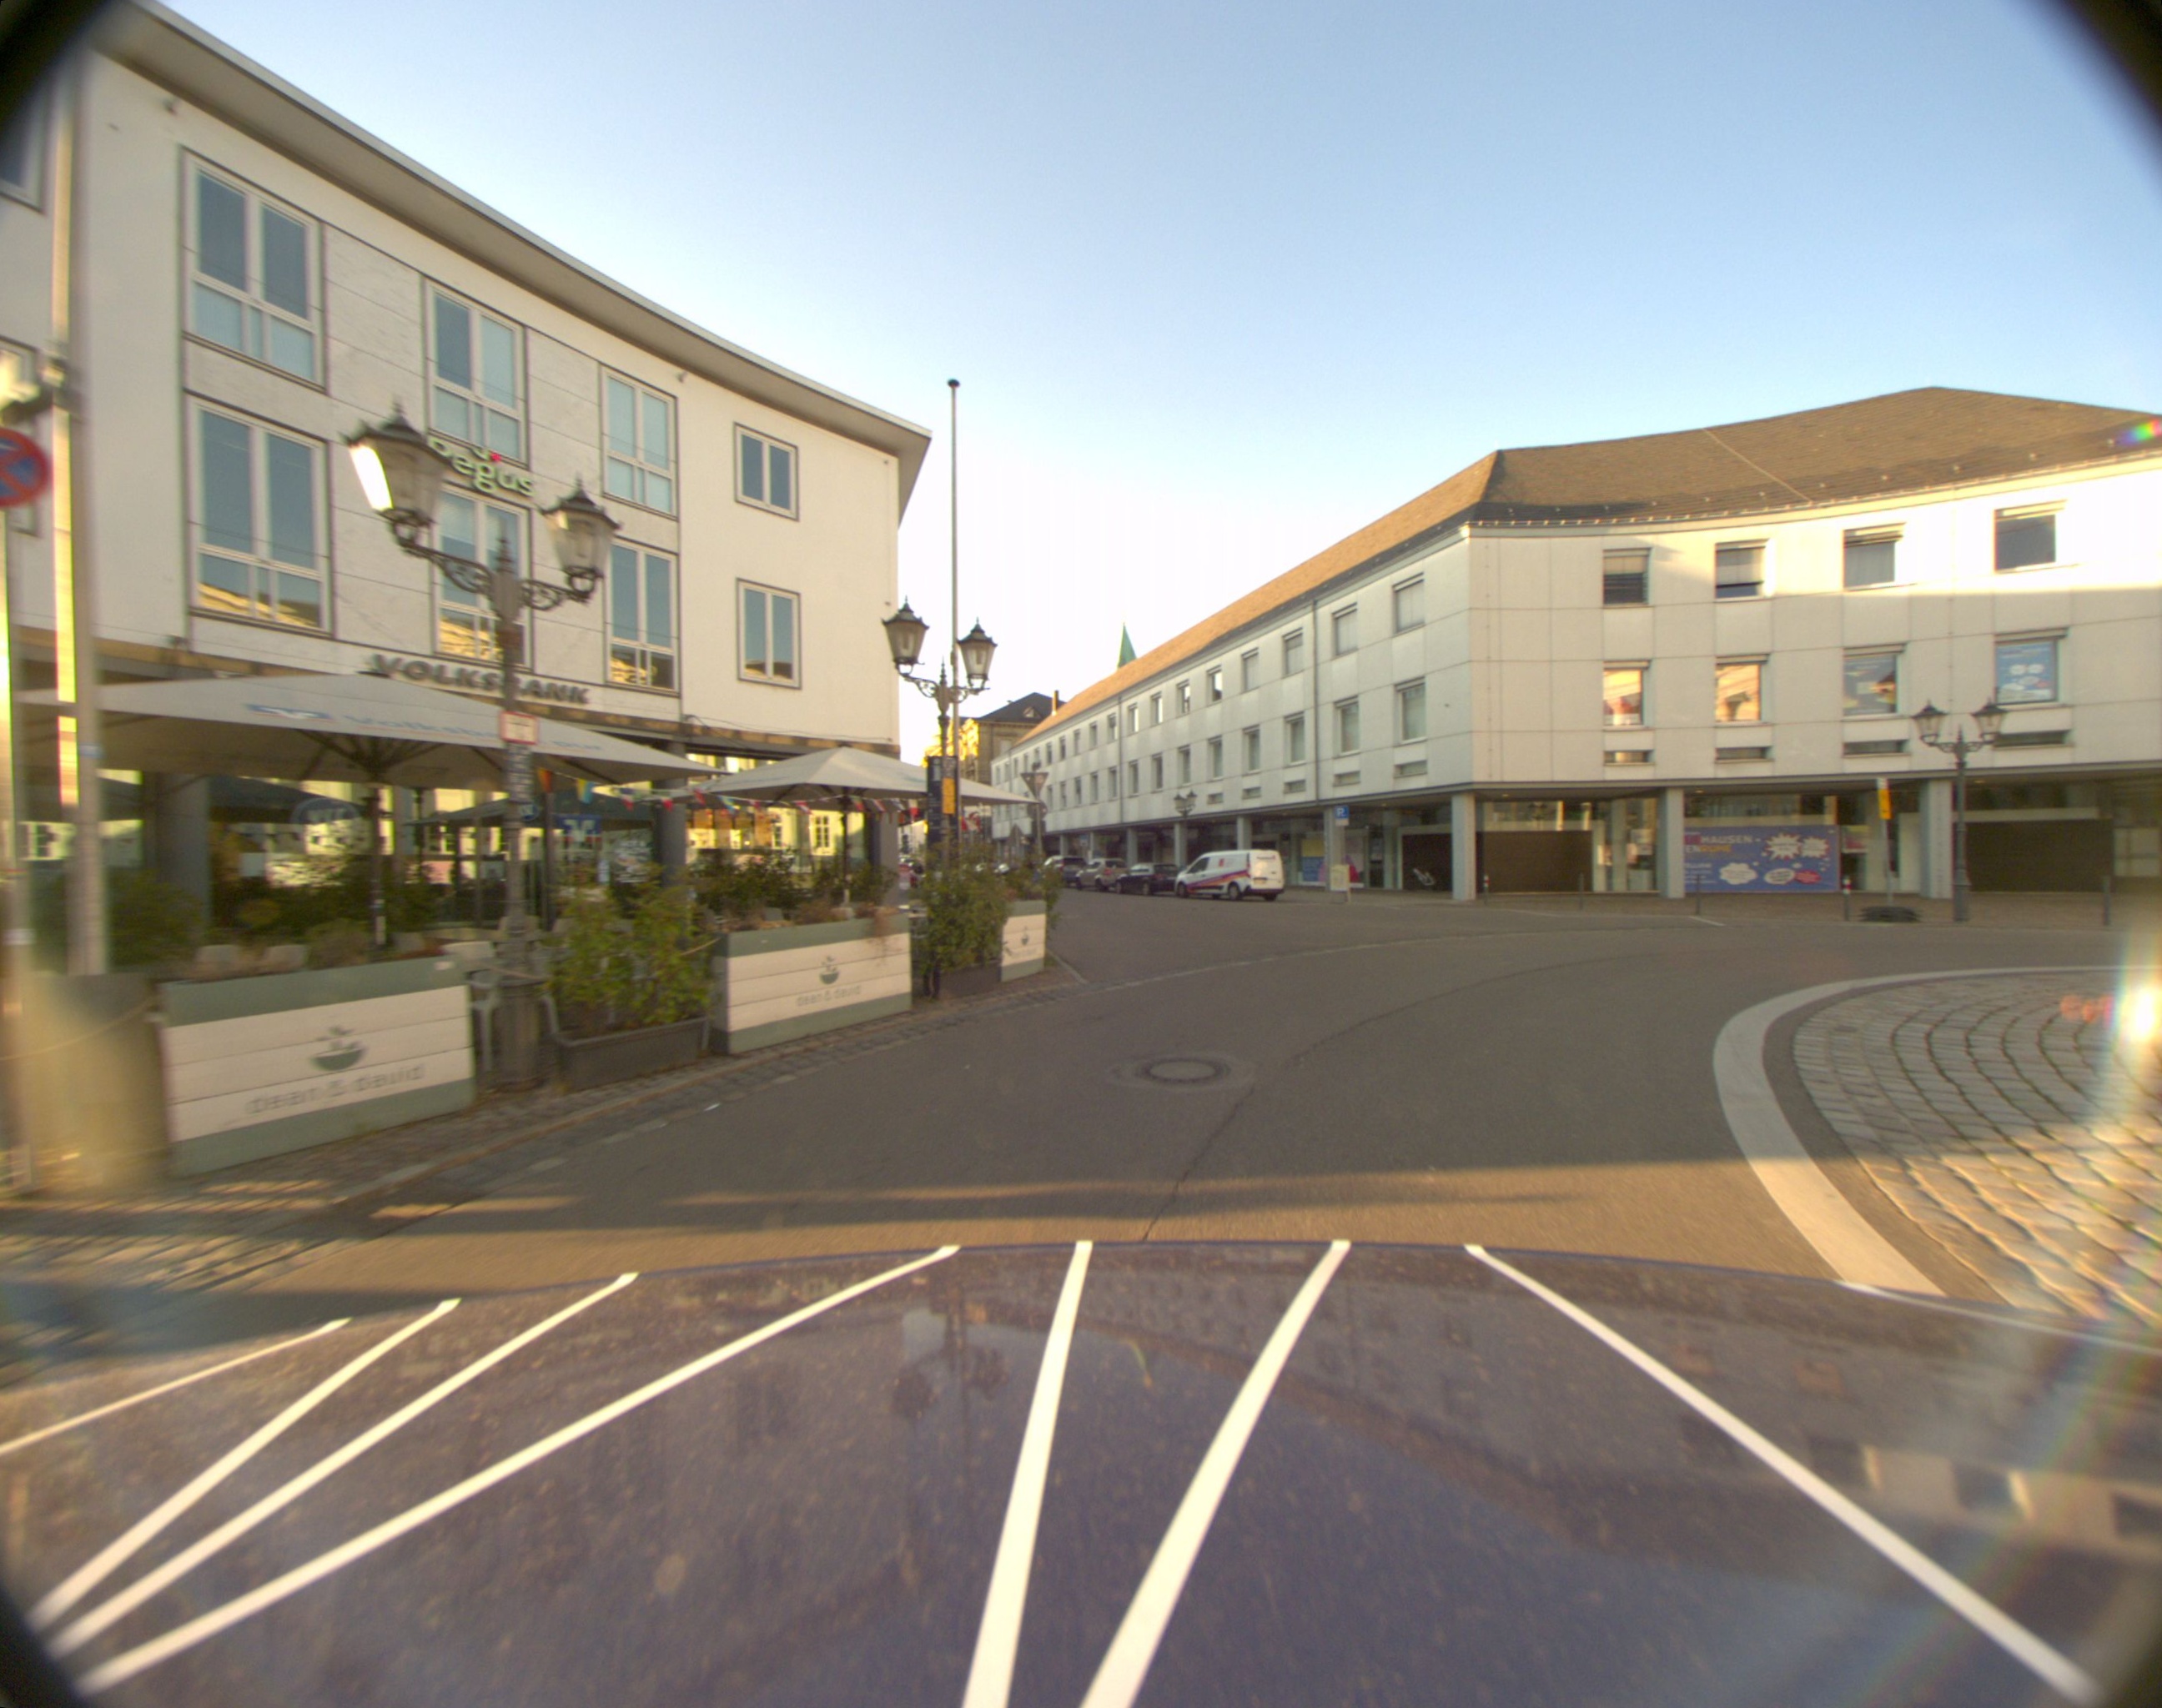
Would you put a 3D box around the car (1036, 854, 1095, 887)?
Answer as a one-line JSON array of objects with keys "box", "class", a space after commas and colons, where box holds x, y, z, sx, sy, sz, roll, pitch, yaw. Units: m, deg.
[{"box": [-0.922, 0.875, 42.719, 1.784, 1.718, 4.320, -1, 0, -23], "class": "car"}]

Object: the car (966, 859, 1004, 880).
[{"box": [-7.375, 1.173, 58.190, 1.784, 1.483, 4.320, -1, 0, -23], "class": "car"}]

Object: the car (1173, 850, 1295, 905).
[{"box": [5.534, 0.800, 28.006, 2.025, 1.815, 4.450, -1, 0, -28], "class": "car"}]

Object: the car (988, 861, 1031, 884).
[{"box": [-5.032, 1.258, 53.045, 1.784, 1.483, 4.320, -1, 0, -23], "class": "car"}]

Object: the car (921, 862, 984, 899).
[{"box": [-5.516, 1.059, 32.259, 1.784, 1.416, 3.953, -1, 0, -22], "class": "car"}]

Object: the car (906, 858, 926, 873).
[{"box": [-20.372, 1.393, 93.729, 1.784, 1.657, 4.320, -1, 0, -21], "class": "car"}]

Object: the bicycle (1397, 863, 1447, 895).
[{"box": [12.877, 0.916, 28.749, 0.481, 1.149, 1.946, -1, 0, -22], "class": "bicycle"}]

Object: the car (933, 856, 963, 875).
[{"box": [-12.396, 1.069, 70.435, 1.784, 1.657, 4.320, -1, 0, -23], "class": "car"}]

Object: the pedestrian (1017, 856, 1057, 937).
[{"box": [-0.945, 0.887, 16.244, 0.605, 1.691, 0.712, -1, 1, -27], "class": "pedestrian"}]

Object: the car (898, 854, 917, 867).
[{"box": [-22.672, 0.860, 99.368, 1.784, 1.657, 4.320, -1, 0, -21], "class": "car"}]

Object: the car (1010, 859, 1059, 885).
[{"box": [-3.023, 1.103, 48.426, 1.784, 1.483, 4.320, -1, 0, -23], "class": "car"}]

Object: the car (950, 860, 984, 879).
[{"box": [-9.498, 1.263, 62.981, 1.784, 1.483, 4.320, -1, 0, -23], "class": "car"}]

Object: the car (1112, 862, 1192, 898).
[{"box": [2.981, 1.074, 32.836, 1.784, 1.416, 3.953, -1, 0, -23], "class": "car"}]

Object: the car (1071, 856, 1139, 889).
[{"box": [1.122, 0.873, 37.160, 1.784, 1.506, 3.953, -1, 0, -23], "class": "car"}]

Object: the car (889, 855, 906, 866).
[{"box": [-26.590, 0.922, 109.934, 1.784, 1.657, 4.320, -1, 0, -21], "class": "car"}]
